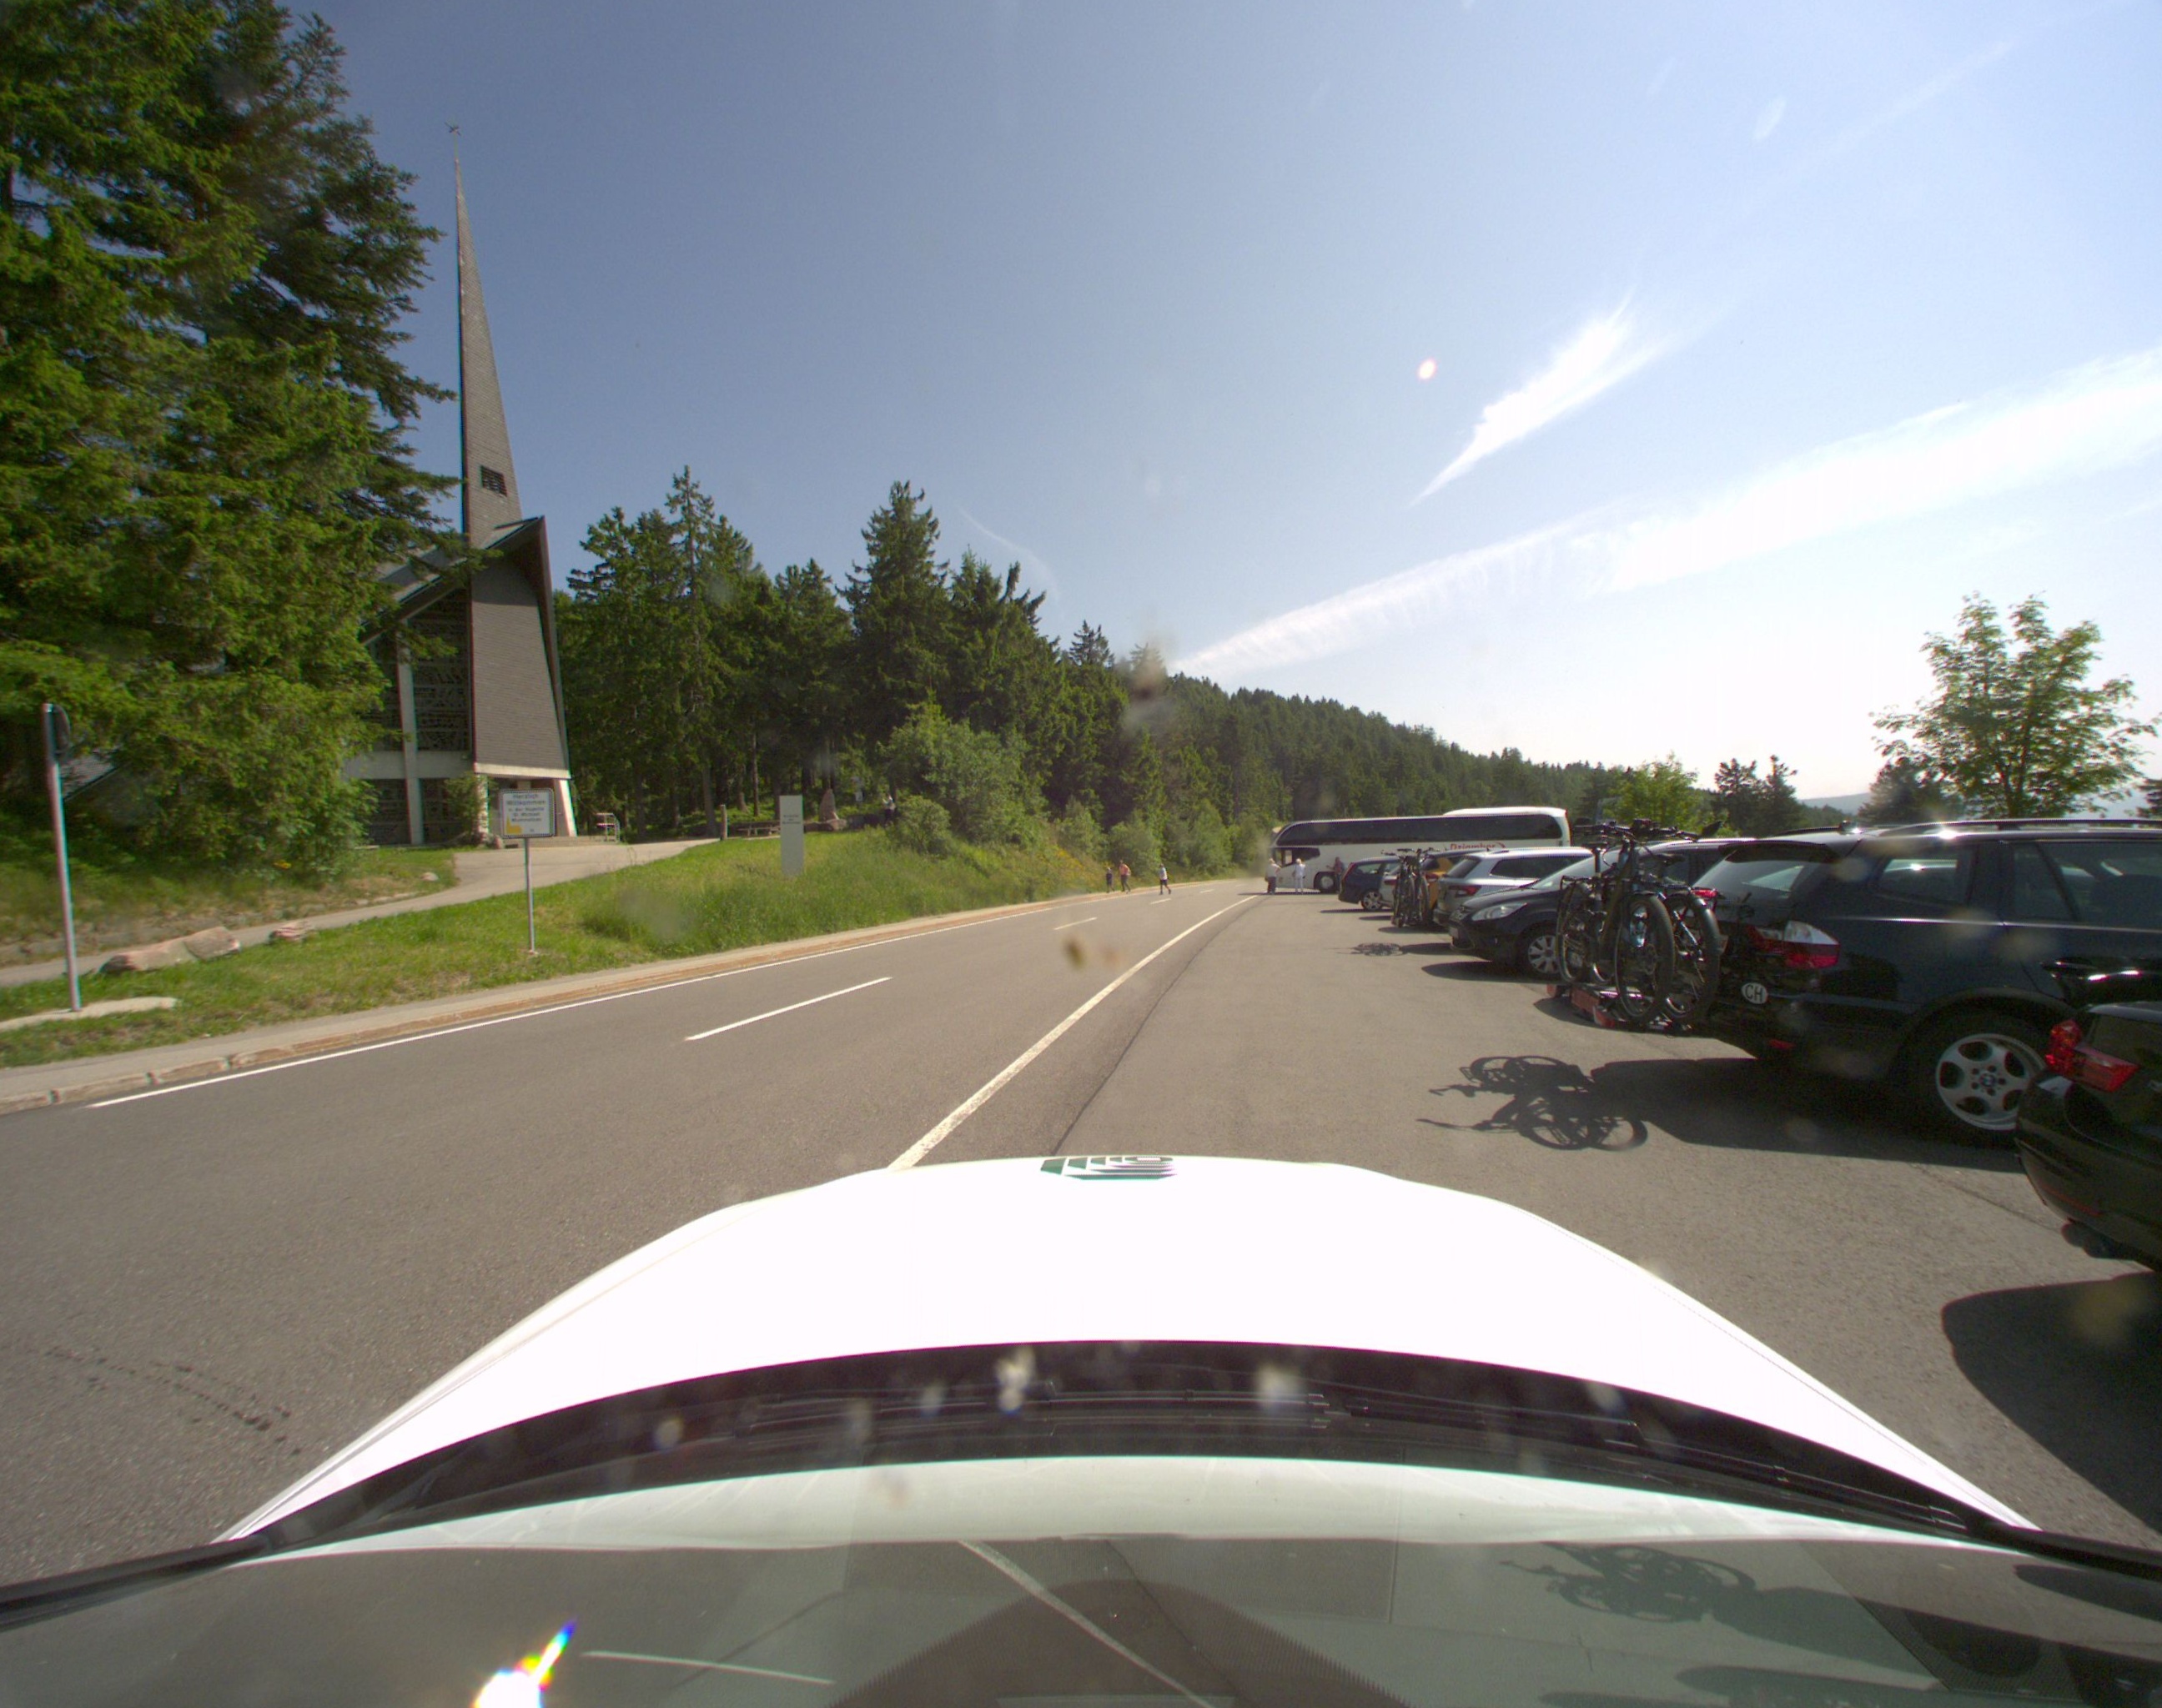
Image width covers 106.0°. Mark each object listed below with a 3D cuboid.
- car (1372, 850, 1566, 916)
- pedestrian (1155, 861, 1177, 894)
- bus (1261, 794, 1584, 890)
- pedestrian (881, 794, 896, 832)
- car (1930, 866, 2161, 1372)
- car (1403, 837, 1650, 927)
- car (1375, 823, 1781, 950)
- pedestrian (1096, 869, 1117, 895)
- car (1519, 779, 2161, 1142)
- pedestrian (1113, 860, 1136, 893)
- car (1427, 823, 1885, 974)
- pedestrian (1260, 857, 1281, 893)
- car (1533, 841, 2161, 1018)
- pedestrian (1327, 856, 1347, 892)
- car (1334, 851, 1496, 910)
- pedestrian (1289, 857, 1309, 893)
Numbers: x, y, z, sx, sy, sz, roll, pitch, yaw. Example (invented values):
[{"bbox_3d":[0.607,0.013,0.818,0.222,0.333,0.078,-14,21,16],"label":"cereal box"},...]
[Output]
[{"bbox_3d":[9.305,0.692,19.838,3.960,1.398,1.626,-3,-1,12],"label":"car"},{"bbox_3d":[4.214,1.162,40.509,0.853,1.585,0.815,-2,-1,-9],"label":"pedestrian"},{"bbox_3d":[15.172,-0.407,37.325,12.978,3.533,3.060,-3,-1,22],"label":"bus"},{"bbox_3d":[-9.778,-2.074,41.392,0.681,1.878,0.539,-3,-1,-14],"label":"pedestrian"},{"bbox_3d":[4.954,0.726,1.849,4.060,1.376,1.705,0,0,6],"label":"car"},{"bbox_3d":[8.712,0.549,16.270,3.960,1.554,1.665,-3,-1,12],"label":"car"},{"bbox_3d":[7.435,0.517,12.807,4.999,1.651,2.055,-3,-1,12],"label":"car"},{"bbox_3d":[1.319,1.444,42.418,0.773,1.279,0.741,-3,-1,35],"label":"pedestrian"},{"bbox_3d":[5.519,0.487,4.698,4.913,1.695,1.953,-2,-1,14],"label":"car"},{"bbox_3d":[2.309,1.213,43.282,0.858,1.683,0.862,-3,-1,34],"label":"pedestrian"},{"bbox_3d":[6.758,0.543,10.114,4.215,1.554,1.844,-3,-1,12],"label":"car"},{"bbox_3d":[8.757,0.968,37.620,0.764,1.585,0.776,-3,-1,19],"label":"pedestrian"},{"bbox_3d":[6.654,0.632,7.257,4.215,1.269,1.844,-3,-1,12],"label":"car"},{"bbox_3d":[11.674,0.912,37.096,0.763,1.585,0.777,-3,-1,20],"label":"pedestrian"},{"bbox_3d":[9.357,0.732,23.165,3.960,1.449,1.867,-3,-1,12],"label":"car"},{"bbox_3d":[9.952,0.946,37.159,0.764,1.585,0.776,-3,-1,19],"label":"pedestrian"}]
